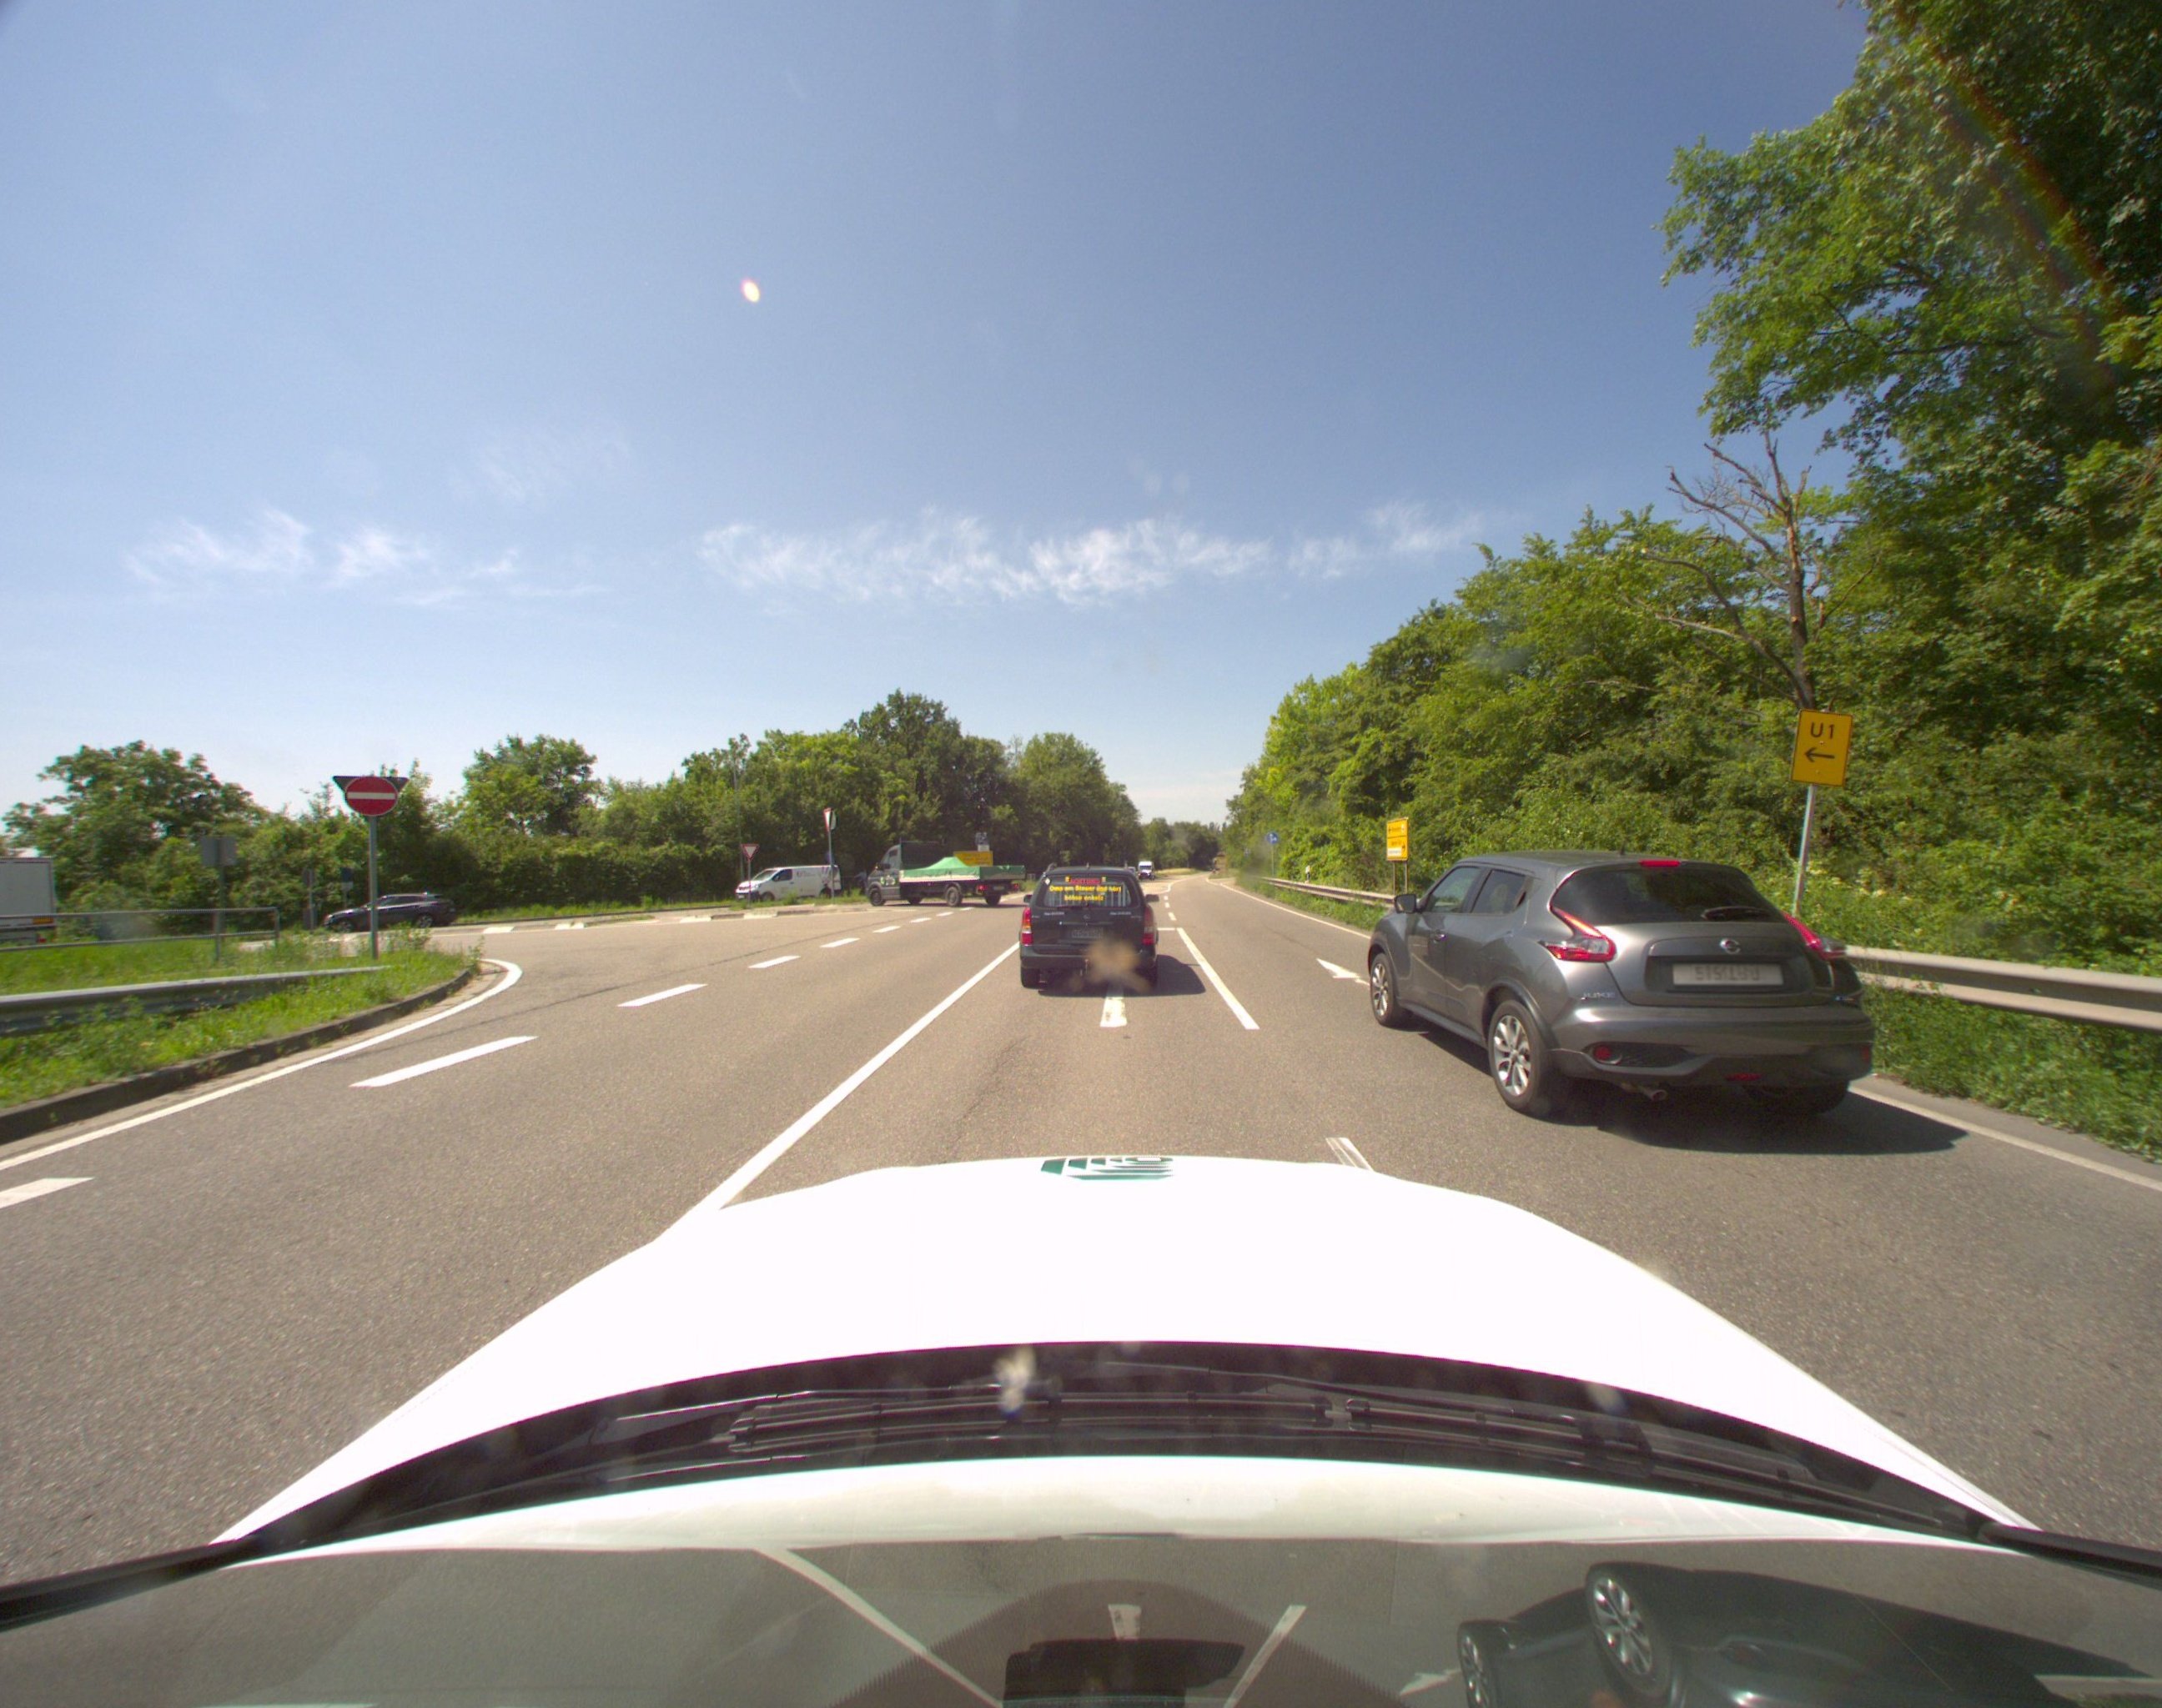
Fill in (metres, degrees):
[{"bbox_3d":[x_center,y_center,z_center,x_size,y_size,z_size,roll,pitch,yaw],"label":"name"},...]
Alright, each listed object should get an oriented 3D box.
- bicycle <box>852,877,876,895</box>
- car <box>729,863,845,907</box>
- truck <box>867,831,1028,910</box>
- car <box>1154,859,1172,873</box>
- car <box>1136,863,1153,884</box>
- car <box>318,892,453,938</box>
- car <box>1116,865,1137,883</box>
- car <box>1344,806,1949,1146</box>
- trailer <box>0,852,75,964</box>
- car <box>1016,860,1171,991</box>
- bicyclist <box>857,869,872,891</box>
[{"bbox_3d":[-13.586,1.996,51.036,0.431,1.113,1.491,-2,-1,36],"label":"bicycle"},{"bbox_3d":[-14.913,1.529,41.556,1.990,1.923,5.228,-1,1,39],"label":"car"},{"bbox_3d":[-4.983,0.567,29.515,6.554,2.565,2.159,-1,-1,42],"label":"truck"},{"bbox_3d":[19.299,2.784,190.910,2.003,3.226,4.770,-1,-1,-24],"label":"car"},{"bbox_3d":[8.780,2.626,112.691,2.094,2.850,6.022,-1,-1,6],"label":"car"},{"bbox_3d":[-28.443,2.457,33.470,3.940,1.596,1.753,-1,0,-29],"label":"car"},{"bbox_3d":[3.800,1.636,67.412,1.636,1.419,3.771,-1,-1,5],"label":"car"},{"bbox_3d":[3.488,0.623,6.108,1.836,1.685,4.002,-1,0,2],"label":"car"},{"bbox_3d":[-47.800,2.607,31.876,13.687,4.275,3.002,-5,-1,3],"label":"trailer"},{"bbox_3d":[0.231,0.813,10.995,1.713,1.457,3.800,-1,0,3],"label":"car"},{"bbox_3d":[-13.579,1.623,51.063,0.681,1.363,0.613,-1,-1,37],"label":"bicyclist"}]
